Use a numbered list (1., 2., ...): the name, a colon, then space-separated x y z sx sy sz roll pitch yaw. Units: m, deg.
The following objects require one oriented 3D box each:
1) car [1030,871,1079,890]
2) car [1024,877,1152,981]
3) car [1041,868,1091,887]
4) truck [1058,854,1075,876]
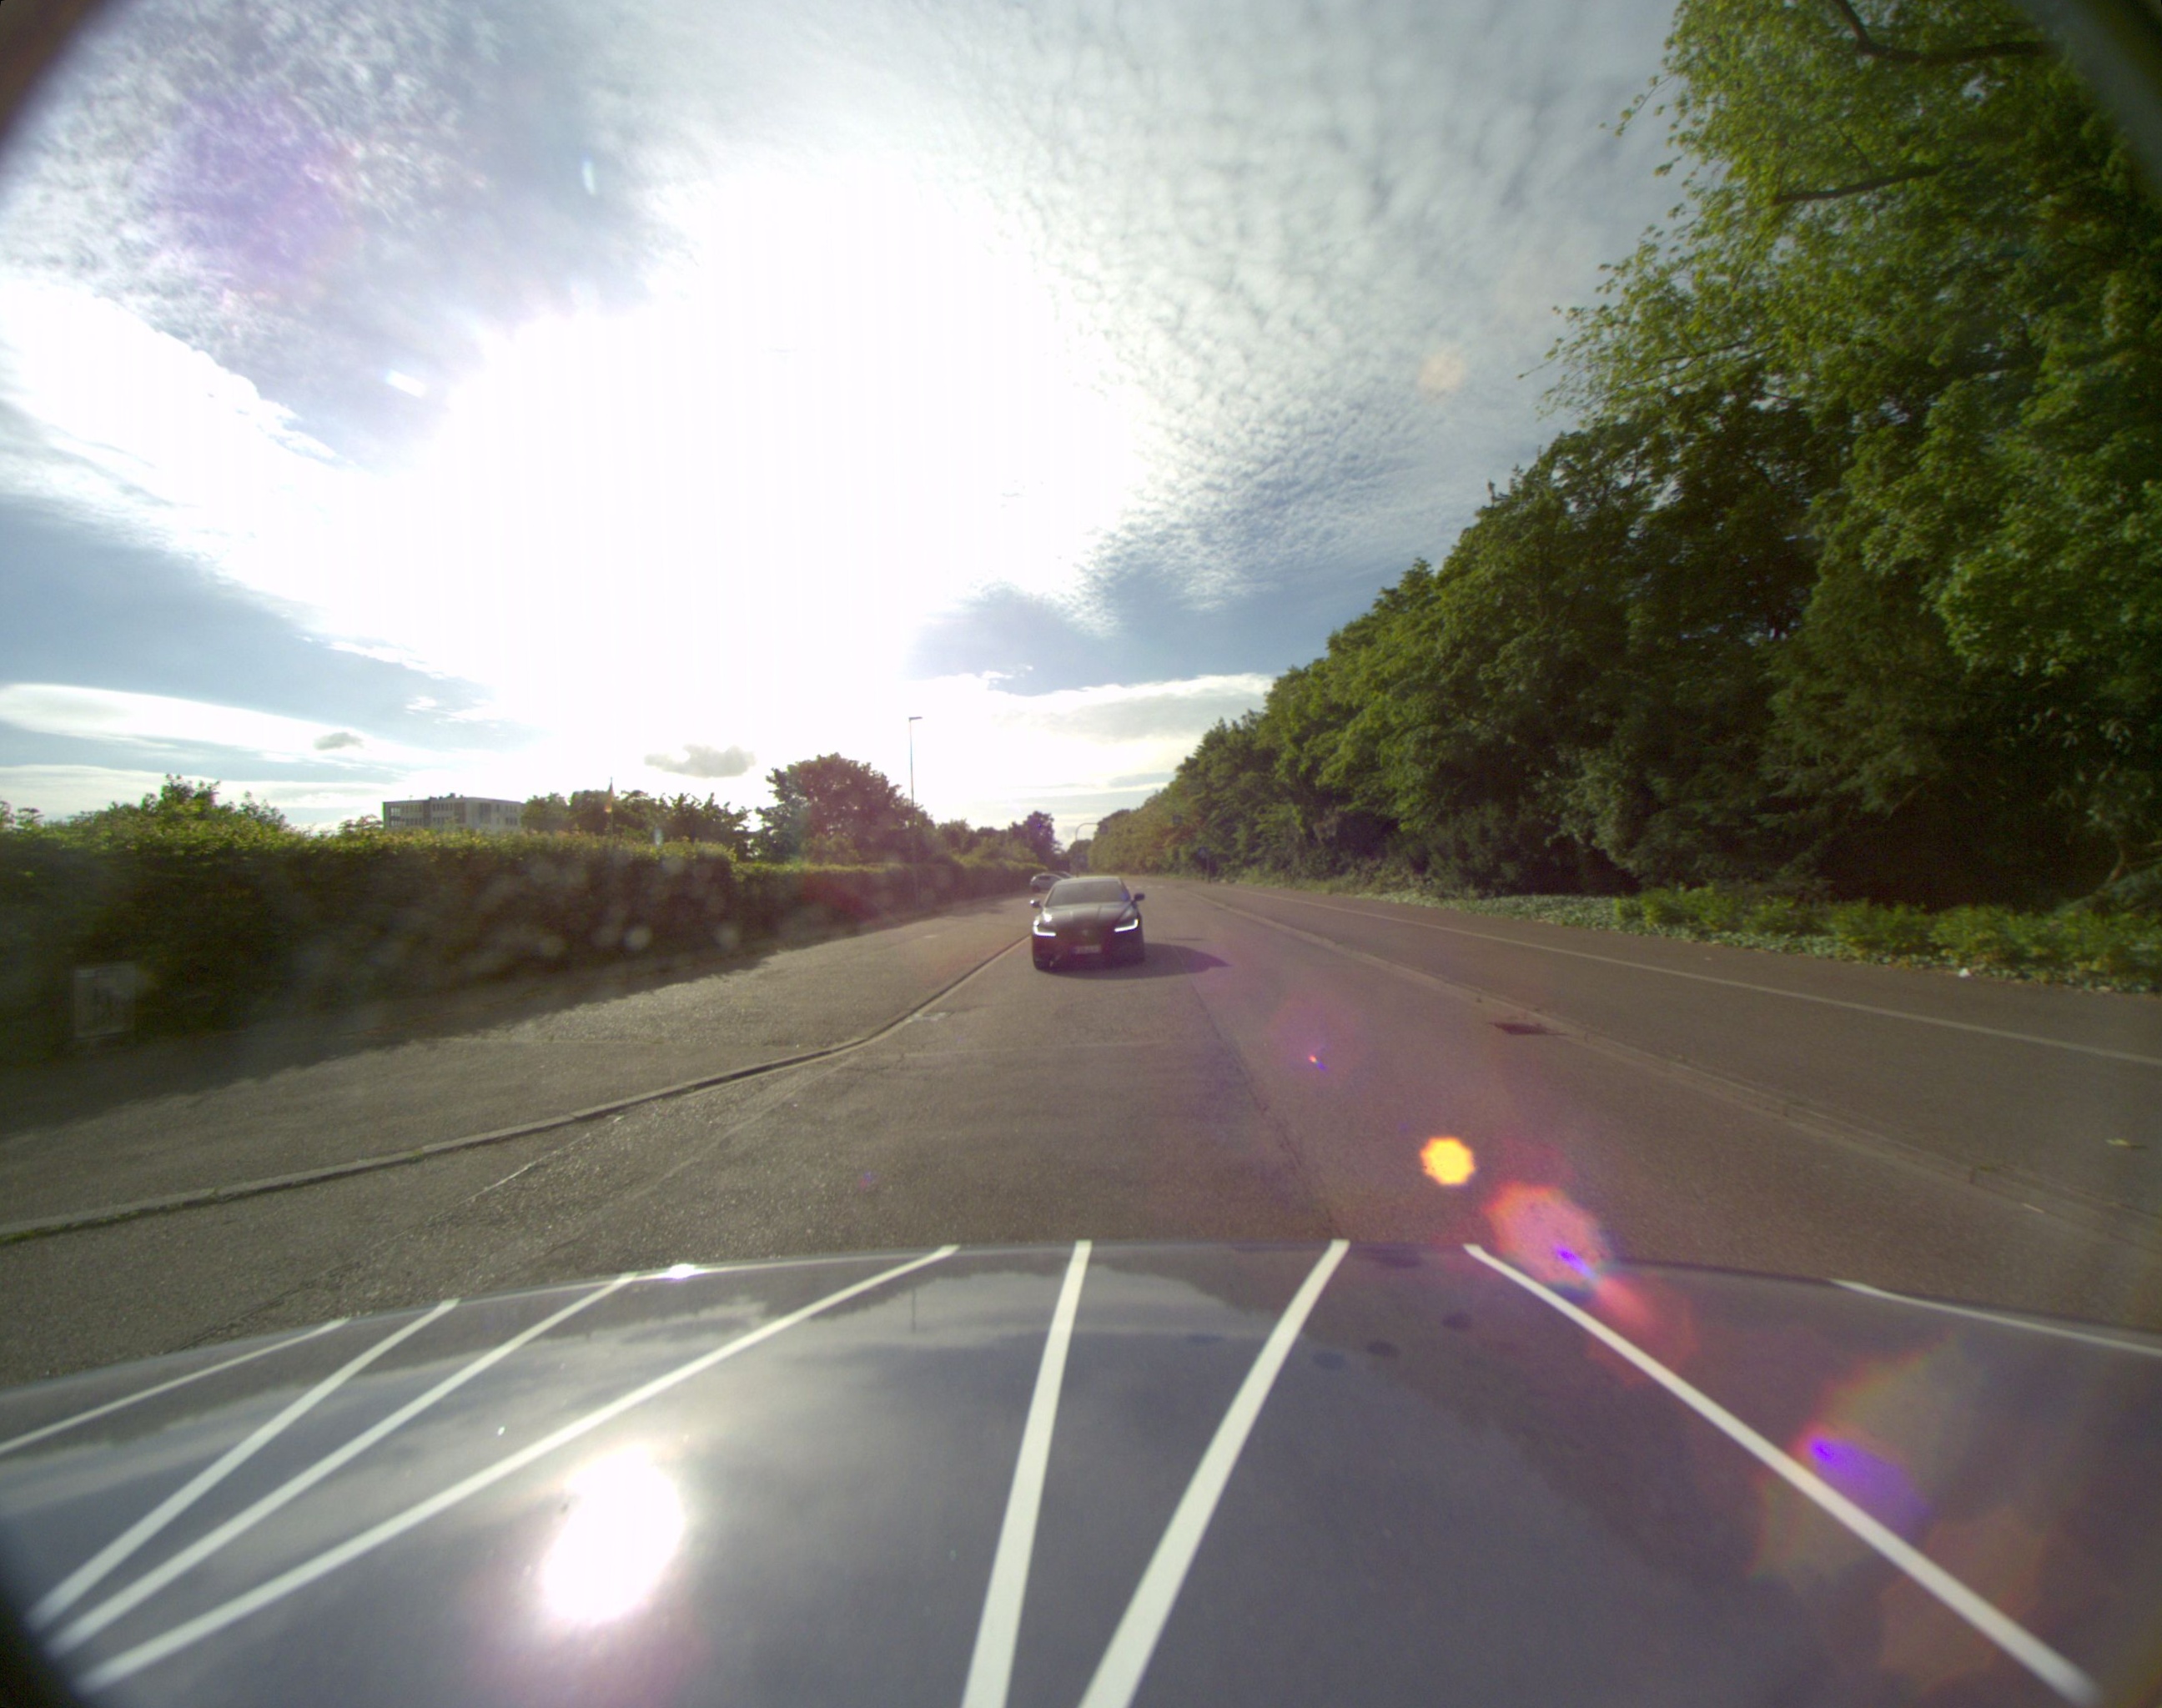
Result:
1. car: -2.129 2.201 62.217 3.866 1.481 1.693 0 -2 2
2. car: 0.204 1.244 14.250 1.936 1.500 4.681 -3 -1 2
3. car: -1.406 2.219 72.851 4.598 1.689 1.764 -1 -1 4
4. truck: -2.762 2.037 142.777 2.603 3.934 6.282 1 -2 -5
